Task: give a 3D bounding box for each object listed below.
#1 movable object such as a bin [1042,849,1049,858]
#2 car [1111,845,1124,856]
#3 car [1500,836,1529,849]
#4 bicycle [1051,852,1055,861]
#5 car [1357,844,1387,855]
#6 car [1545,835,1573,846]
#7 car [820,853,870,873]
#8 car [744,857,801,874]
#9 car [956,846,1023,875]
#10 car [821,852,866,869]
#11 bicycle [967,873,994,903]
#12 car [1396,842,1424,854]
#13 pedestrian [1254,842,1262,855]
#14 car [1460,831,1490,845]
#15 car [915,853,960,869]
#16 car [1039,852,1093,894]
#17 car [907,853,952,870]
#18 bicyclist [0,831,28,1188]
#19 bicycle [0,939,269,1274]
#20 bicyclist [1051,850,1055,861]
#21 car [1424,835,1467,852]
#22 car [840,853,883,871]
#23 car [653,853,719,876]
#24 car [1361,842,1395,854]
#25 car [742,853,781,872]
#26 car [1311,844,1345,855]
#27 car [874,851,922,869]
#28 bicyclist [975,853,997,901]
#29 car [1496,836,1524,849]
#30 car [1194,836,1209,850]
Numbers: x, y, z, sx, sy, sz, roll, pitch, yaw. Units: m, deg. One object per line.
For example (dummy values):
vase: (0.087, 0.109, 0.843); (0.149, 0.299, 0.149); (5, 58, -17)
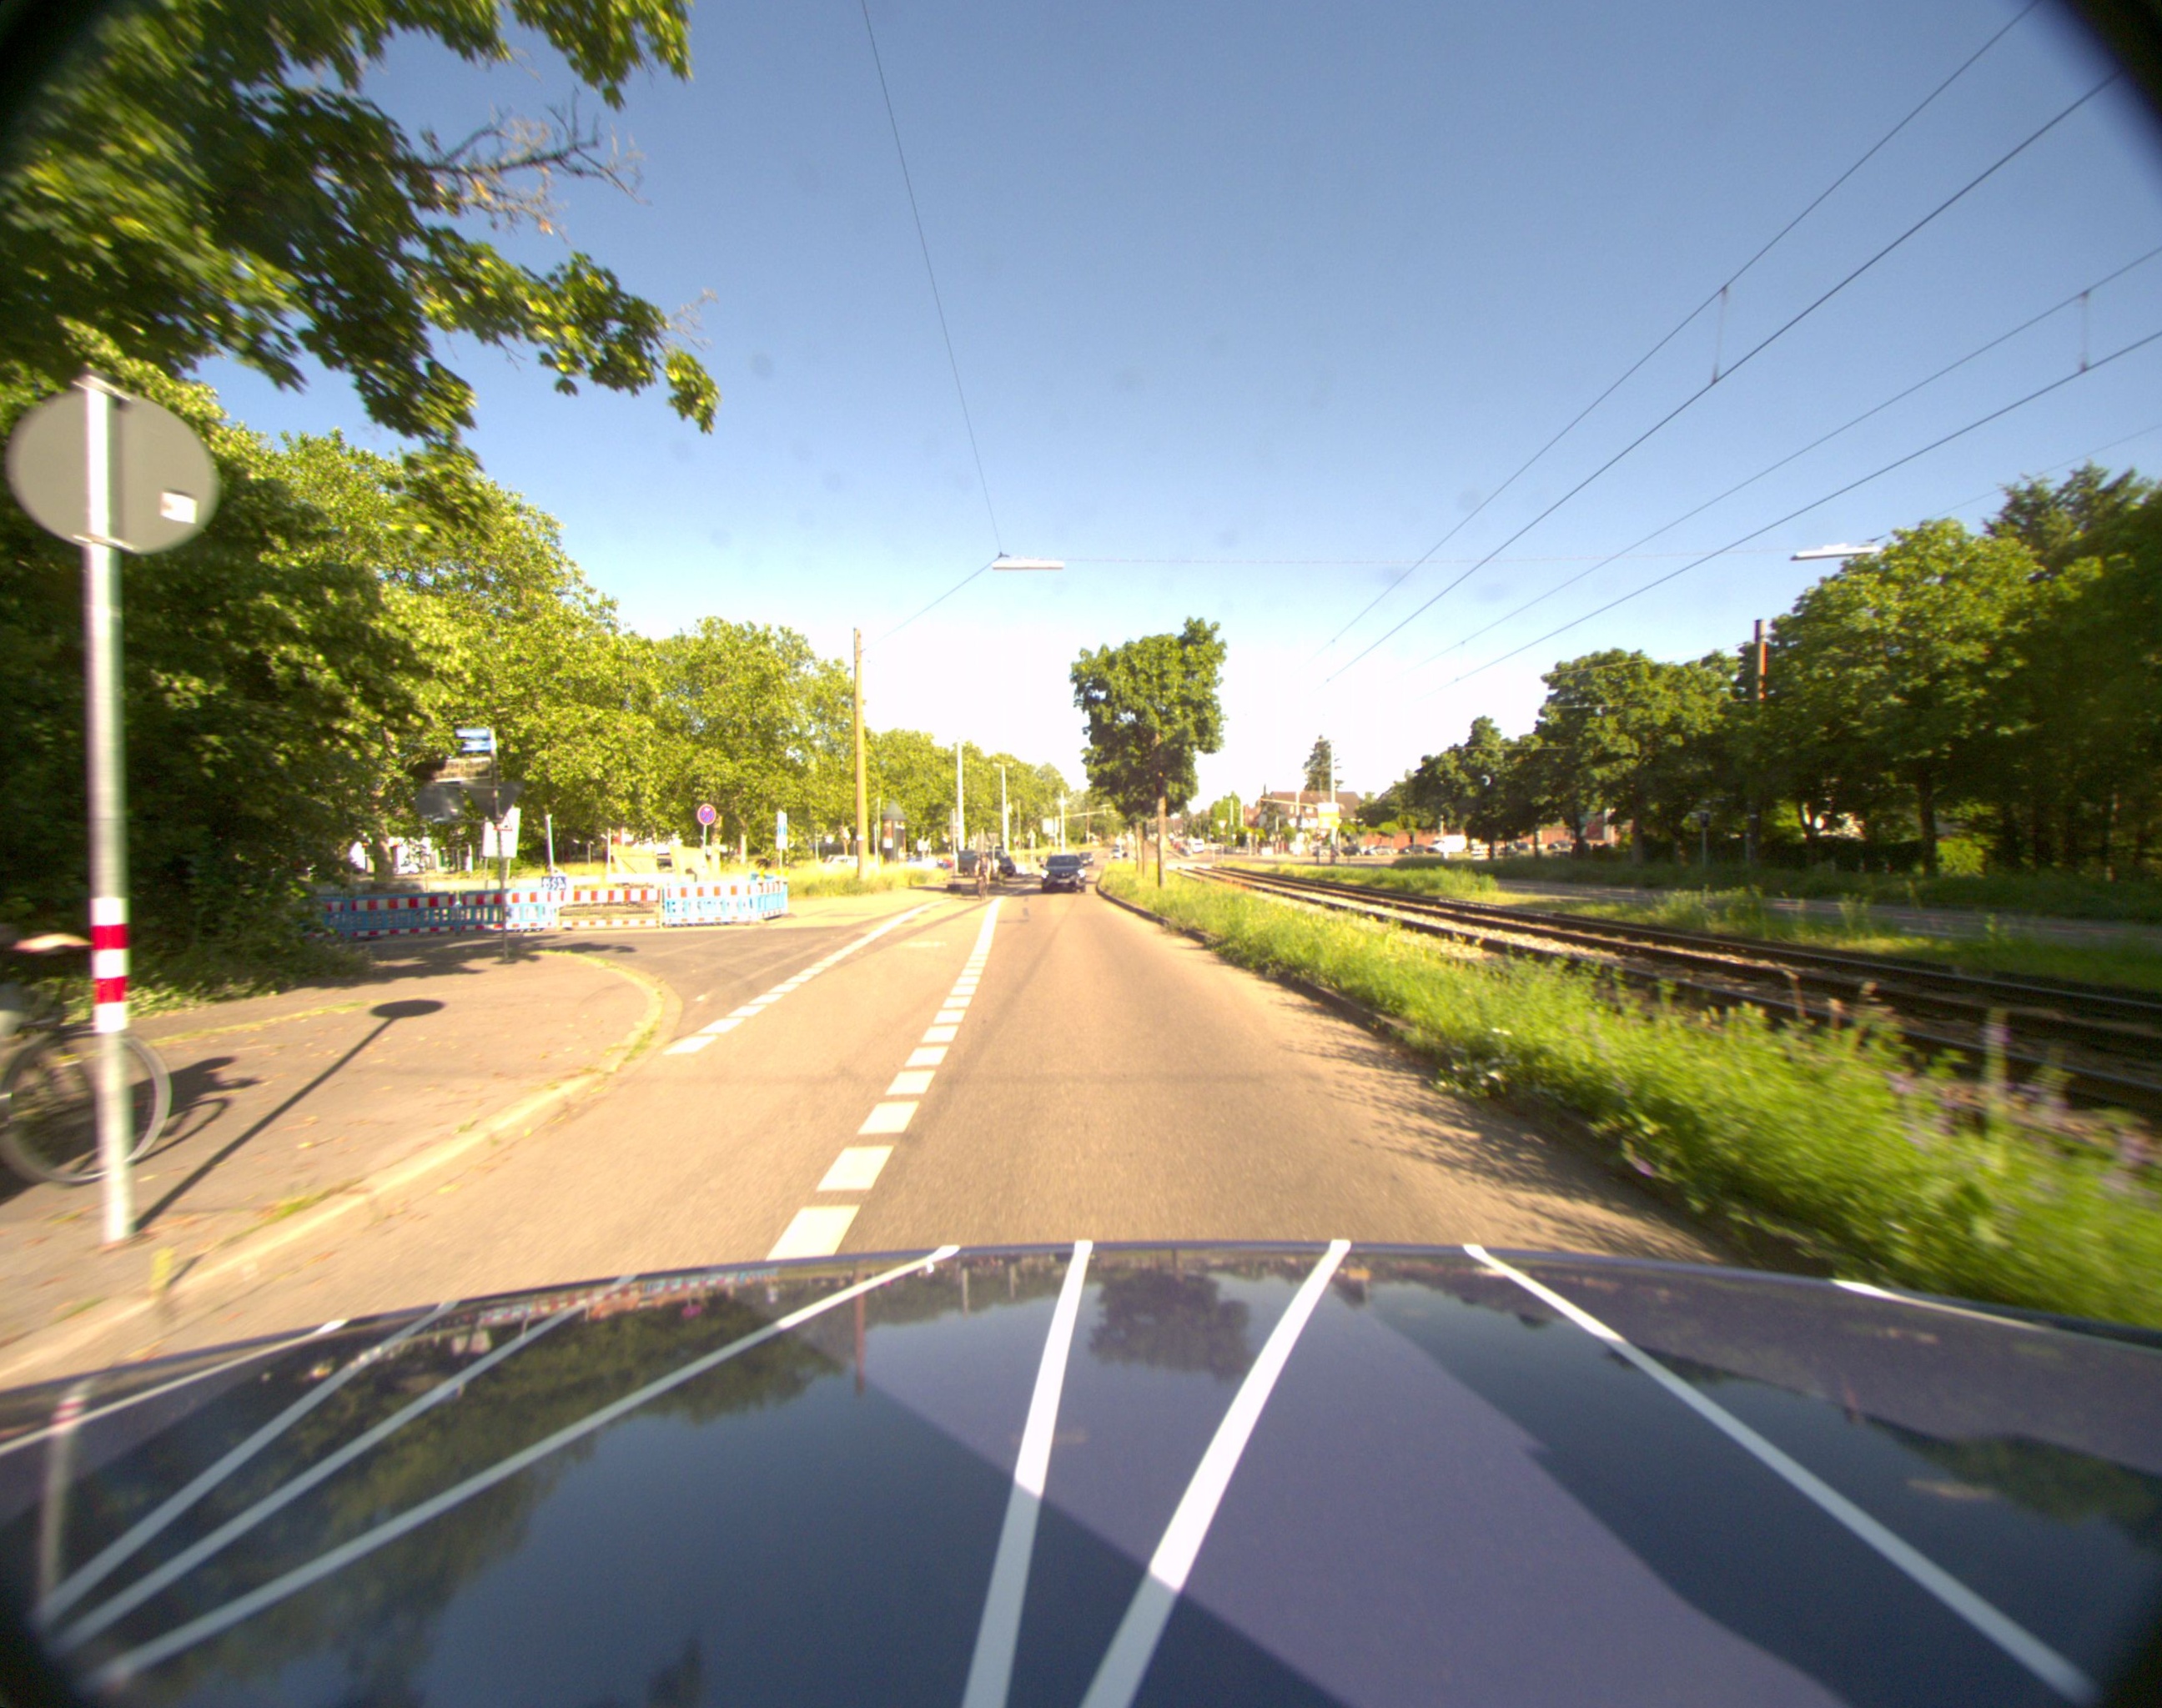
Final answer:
movable object such as a bin: (-4.661, -0.062, 99.021); (0.911, 1.062, 1.316); (-1, 2, -3)
car: (5.587, -0.548, 116.600); (1.881, 1.519, 4.420); (0, 2, 3)
car: (66.192, -1.752, 115.983); (4.005, 2.002, 1.804); (-1, 2, -25)
bicycle: (-3.682, 0.283, 100.398); (0.468, 1.112, 1.819); (-1, 1, -3)
car: (42.369, -0.635, 110.543); (4.004, 1.469, 1.669); (-1, 2, -23)
car: (74.498, -2.123, 118.470); (4.005, 1.732, 1.804); (-1, 1, -25)
car: (-21.402, 0.769, 68.895); (4.180, 1.669, 1.930); (-1, 1, -24)
car: (-27.164, 1.011, 66.979); (4.575, 1.399, 1.931); (-1, 1, -23)
car: (-7.132, 0.456, 58.701); (5.104, 2.059, 2.135); (0, 2, 39)
car: (-23.523, 0.658, 75.206); (4.004, 1.608, 1.996); (-1, 1, -23)
bicycle: (-3.541, 1.190, 26.907); (0.525, 0.918, 2.089); (0, 2, 5)
car: (46.705, -0.865, 107.795); (3.531, 1.559, 1.494); (-1, 1, -21)
pedestrian: (25.298, -0.787, 108.571); (0.612, 1.937, 0.774); (-2, 2, -39)
car: (58.494, -2.382, 112.805); (4.005, 2.002, 1.804); (-1, 2, -24)
car: (-14.325, 0.676, 75.872); (4.094, 1.591, 1.813); (-1, 1, -20)
car: (-0.562, 0.738, 31.682); (1.838, 1.542, 3.816); (0, 2, 5)
car: (-14.258, 0.693, 71.452); (3.865, 1.591, 1.709); (-1, 1, -25)
bicyclist: (-4.438, 0.587, 2.519); (0.758, 1.360, 0.806); (0, 0, -9)
bicycle: (-4.465, 1.028, 2.750); (0.621, 1.183, 2.504); (4, -2, -9)
bicyclist: (-3.709, 0.178, 99.794); (0.511, 1.333, 0.565); (-1, 2, -4)
car: (52.985, -1.545, 110.332); (5.927, 2.397, 2.176); (-1, 2, -21)
car: (-21.240, 0.746, 73.449); (3.863, 1.591, 1.710); (-1, 1, -20)
car: (-33.598, 0.906, 64.815); (4.781, 1.673, 1.905); (-3, 3, -23)
car: (41.415, -0.843, 106.043); (4.264, 1.458, 1.934); (-1, 1, -23)
car: (-29.225, 0.760, 69.502); (3.213, 1.608, 1.369); (-1, 5, -24)
car: (34.830, -0.659, 107.045); (4.641, 1.469, 1.669); (-1, 2, -23)
car: (-18.721, 0.609, 77.786); (4.500, 1.702, 1.917); (-1, 2, -23)
bicyclist: (-3.379, 0.808, 27.070); (0.616, 1.670, 0.933); (0, 2, 3)
car: (67.960, -1.876, 120.265); (4.005, 2.002, 1.804); (-1, 2, -25)
car: (22.423, -2.101, 141.445); (2.344, 2.444, 6.876); (0, 2, 13)
